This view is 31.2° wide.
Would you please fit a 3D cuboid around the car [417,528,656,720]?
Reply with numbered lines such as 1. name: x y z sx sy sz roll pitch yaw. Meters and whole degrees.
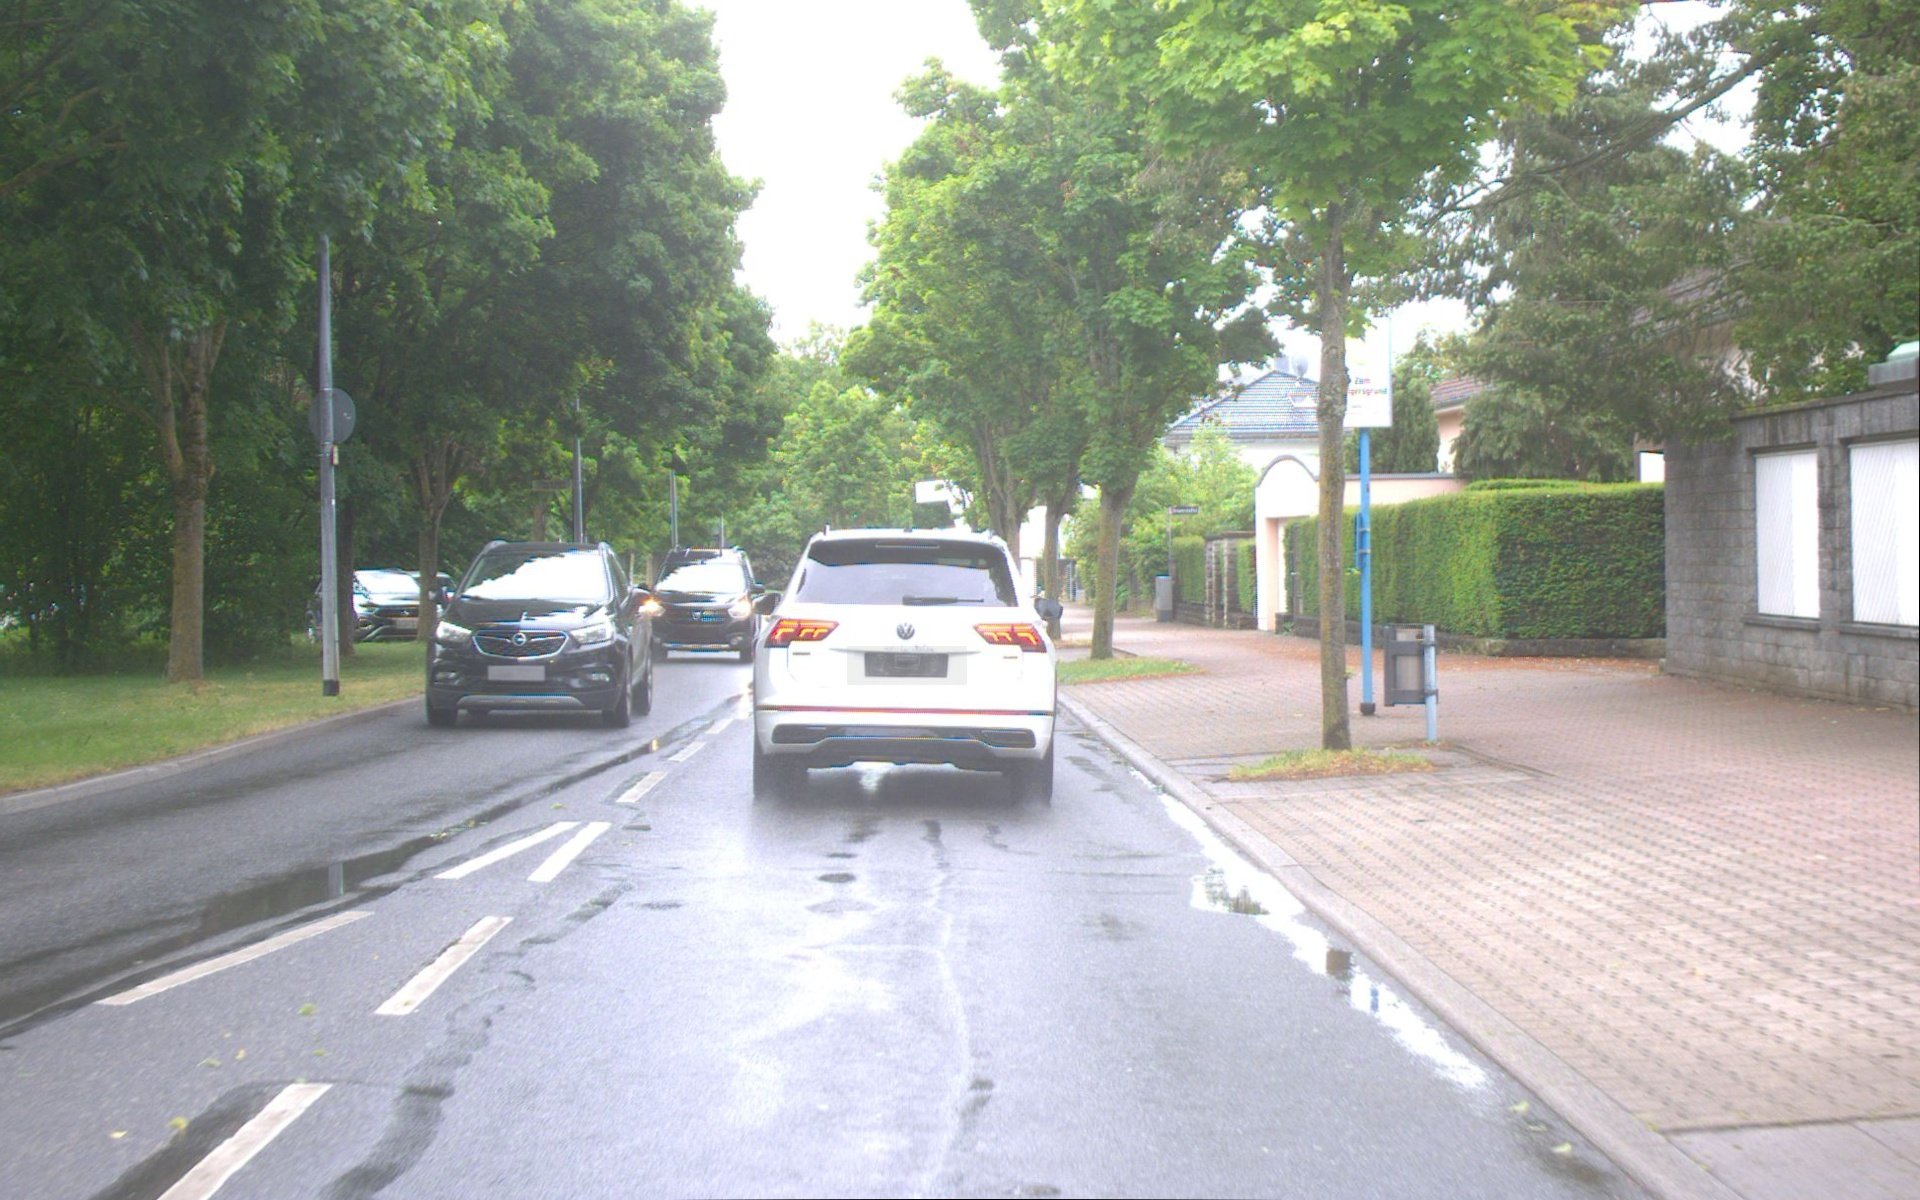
1. car: -3.812 0.178 31.496 1.814 1.642 4.000 0 1 -2

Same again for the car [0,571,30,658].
1. car: -17.568 0.250 60.955 1.841 1.477 4.001 -1 1 -12

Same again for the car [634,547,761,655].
1. car: -4.107 -0.014 54.230 1.756 1.642 4.000 0 1 -1

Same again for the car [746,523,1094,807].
1. car: -0.337 0.330 21.719 1.996 1.626 4.001 0 1 -3

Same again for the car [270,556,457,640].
1. car: -11.064 -0.040 63.621 1.841 1.477 3.999 -2 1 -35
